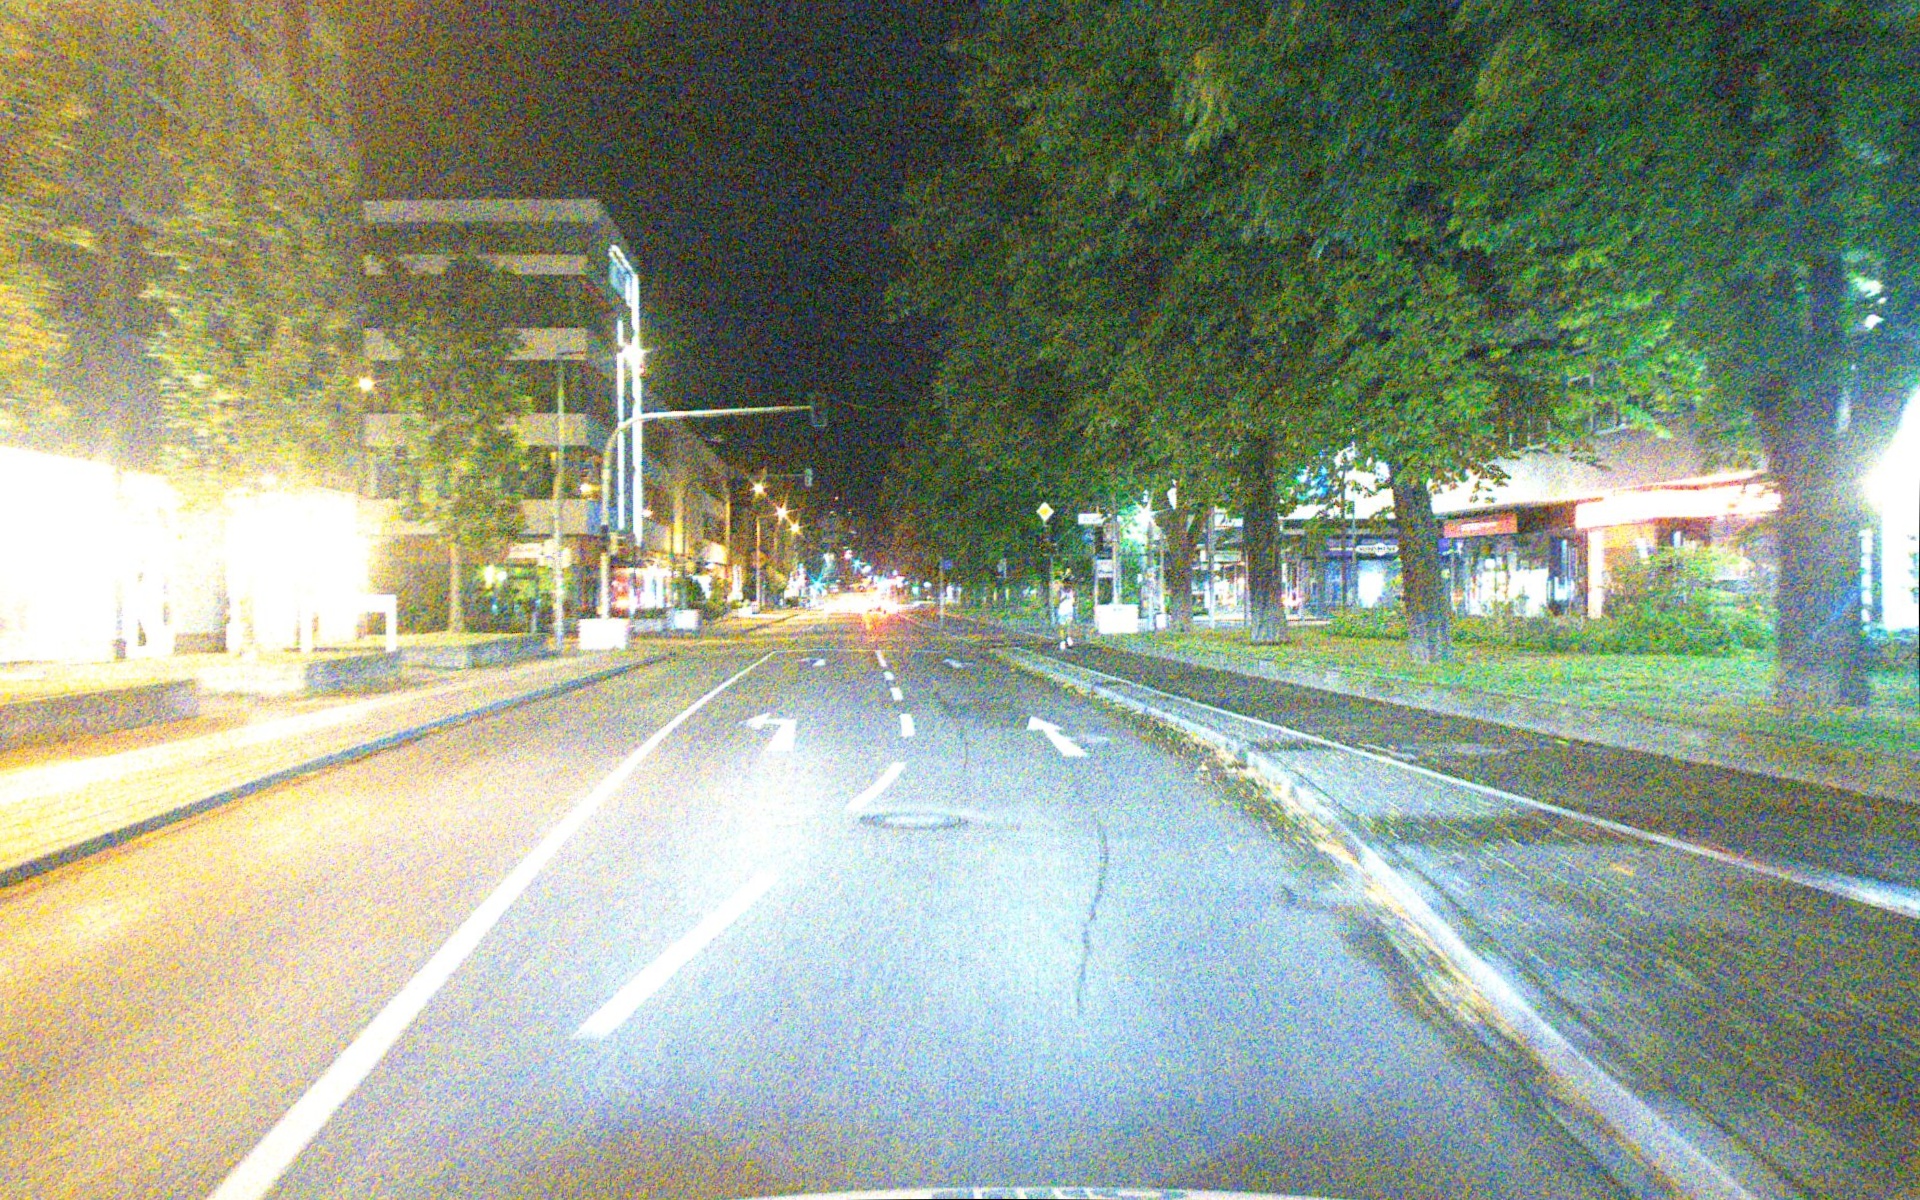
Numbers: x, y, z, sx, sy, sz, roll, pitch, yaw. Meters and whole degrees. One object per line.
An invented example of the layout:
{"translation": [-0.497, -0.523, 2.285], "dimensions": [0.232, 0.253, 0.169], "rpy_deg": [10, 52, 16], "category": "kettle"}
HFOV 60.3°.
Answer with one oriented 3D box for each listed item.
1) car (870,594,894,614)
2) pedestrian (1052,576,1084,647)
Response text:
{"translation": [-6.946, 0.317, 146.769], "dimensions": [1.954, 1.672, 3.997], "rpy_deg": [-2, 0, -4], "category": "car"}
{"translation": [2.867, 0.290, 43.820], "dimensions": [0.689, 1.850, 1.081], "rpy_deg": [-1, 0, -3], "category": "pedestrian"}
